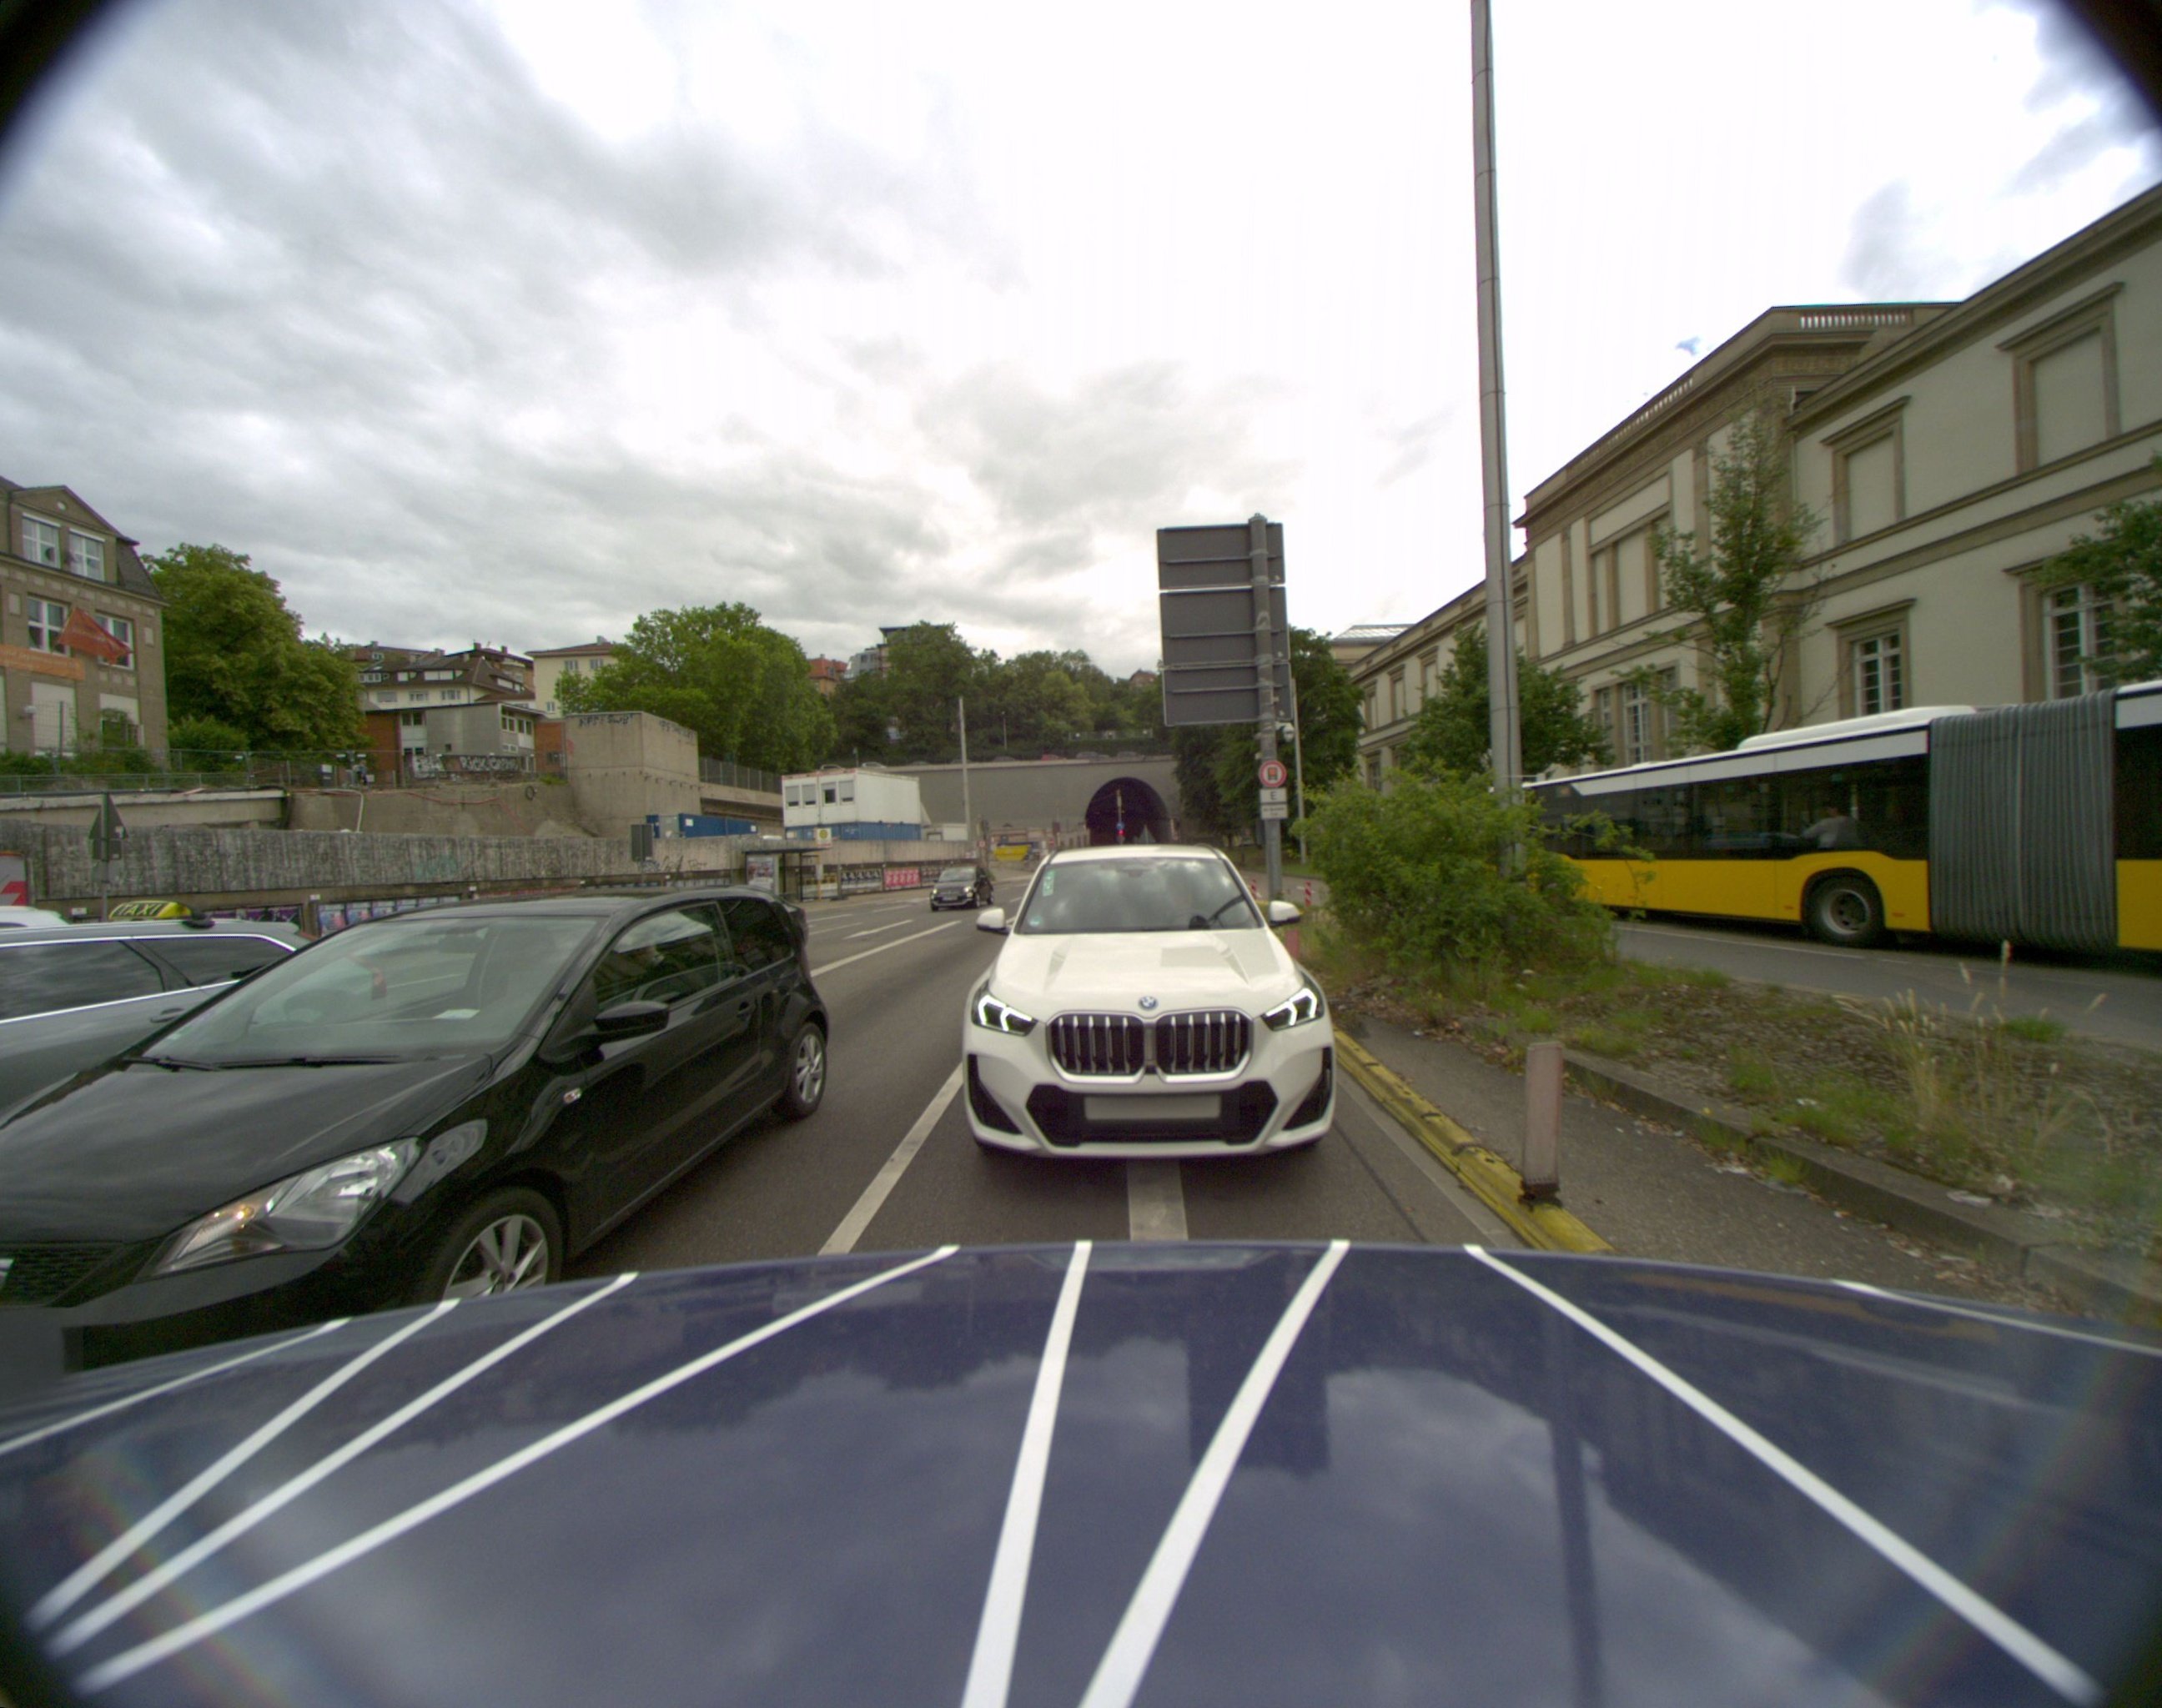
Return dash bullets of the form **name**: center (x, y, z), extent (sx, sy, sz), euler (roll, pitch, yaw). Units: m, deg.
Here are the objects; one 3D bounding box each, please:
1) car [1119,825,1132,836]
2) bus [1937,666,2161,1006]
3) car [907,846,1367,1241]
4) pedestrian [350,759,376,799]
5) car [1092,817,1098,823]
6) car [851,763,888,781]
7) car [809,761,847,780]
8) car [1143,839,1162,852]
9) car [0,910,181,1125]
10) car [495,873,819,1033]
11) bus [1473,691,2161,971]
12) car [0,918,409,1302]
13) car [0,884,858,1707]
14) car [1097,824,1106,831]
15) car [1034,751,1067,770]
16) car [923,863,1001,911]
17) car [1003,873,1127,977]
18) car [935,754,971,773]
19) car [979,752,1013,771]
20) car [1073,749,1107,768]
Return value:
- **car**: center (7.297, -3.770, 124.201), extent (1.701, 1.580, 3.882), euler (-3, 0, -1)
- **bus**: center (11.260, -0.215, 4.118), extent (2.853, 3.096, 9.121), euler (-3, 0, 0)
- **car**: center (0.295, 0.798, 5.124), extent (1.848, 1.581, 3.882), euler (-3, 0, 2)
- **pedestrian**: center (-37.765, -3.924, 39.975), extent (0.646, 2.002, 0.666), euler (-2, 1, -3)
- **car**: center (4.283, -10.224, 230.602), extent (1.667, 1.582, 3.882), euler (-1, 0, 2)
- **car**: center (-26.010, -10.075, 93.376), extent (3.998, 2.002, 1.999), euler (-2, 1, -5)
- **car**: center (-31.059, -10.262, 93.313), extent (3.998, 2.002, 1.999), euler (-2, 1, -5)
- **car**: center (8.287, -0.996, 88.453), extent (1.705, 1.463, 4.629), euler (-3, 0, -1)
- **car**: center (-9.167, 1.345, 4.682), extent (1.704, 1.550, 4.550), euler (-3, 0, 1)
- **car**: center (-5.456, 1.152, 10.635), extent (1.704, 1.550, 4.551), euler (-3, 0, 3)
- **bus**: center (11.111, -0.274, 13.604), extent (2.853, 3.096, 9.747), euler (-3, 0, -1)
- **car**: center (-5.873, 1.301, 3.140), extent (1.826, 1.562, 4.654), euler (-3, 0, 3)
- **car**: center (-2.505, 1.002, 3.414), extent (1.667, 1.487, 3.882), euler (-3, 0, 2)
- **car**: center (4.703, -6.072, 174.106), extent (1.711, 1.505, 4.287), euler (0, 0, -3)
- **car**: center (-3.773, -11.650, 94.405), extent (3.998, 2.002, 1.999), euler (-2, 1, -2)
- **car**: center (-4.147, 1.128, 27.058), extent (1.730, 1.435, 4.001), euler (-3, 0, 5)
- **car**: center (-0.201, 1.065, 12.871), extent (1.728, 1.310, 4.000), euler (-3, 0, 1)
- **car**: center (-15.798, -11.207, 93.899), extent (3.998, 2.002, 1.999), euler (-2, 1, -2)
- **car**: center (-10.479, -11.402, 94.010), extent (3.998, 2.002, 1.999), euler (-2, 1, -2)
- **car**: center (1.105, -11.828, 94.489), extent (3.998, 2.002, 1.999), euler (-2, 1, -2)
